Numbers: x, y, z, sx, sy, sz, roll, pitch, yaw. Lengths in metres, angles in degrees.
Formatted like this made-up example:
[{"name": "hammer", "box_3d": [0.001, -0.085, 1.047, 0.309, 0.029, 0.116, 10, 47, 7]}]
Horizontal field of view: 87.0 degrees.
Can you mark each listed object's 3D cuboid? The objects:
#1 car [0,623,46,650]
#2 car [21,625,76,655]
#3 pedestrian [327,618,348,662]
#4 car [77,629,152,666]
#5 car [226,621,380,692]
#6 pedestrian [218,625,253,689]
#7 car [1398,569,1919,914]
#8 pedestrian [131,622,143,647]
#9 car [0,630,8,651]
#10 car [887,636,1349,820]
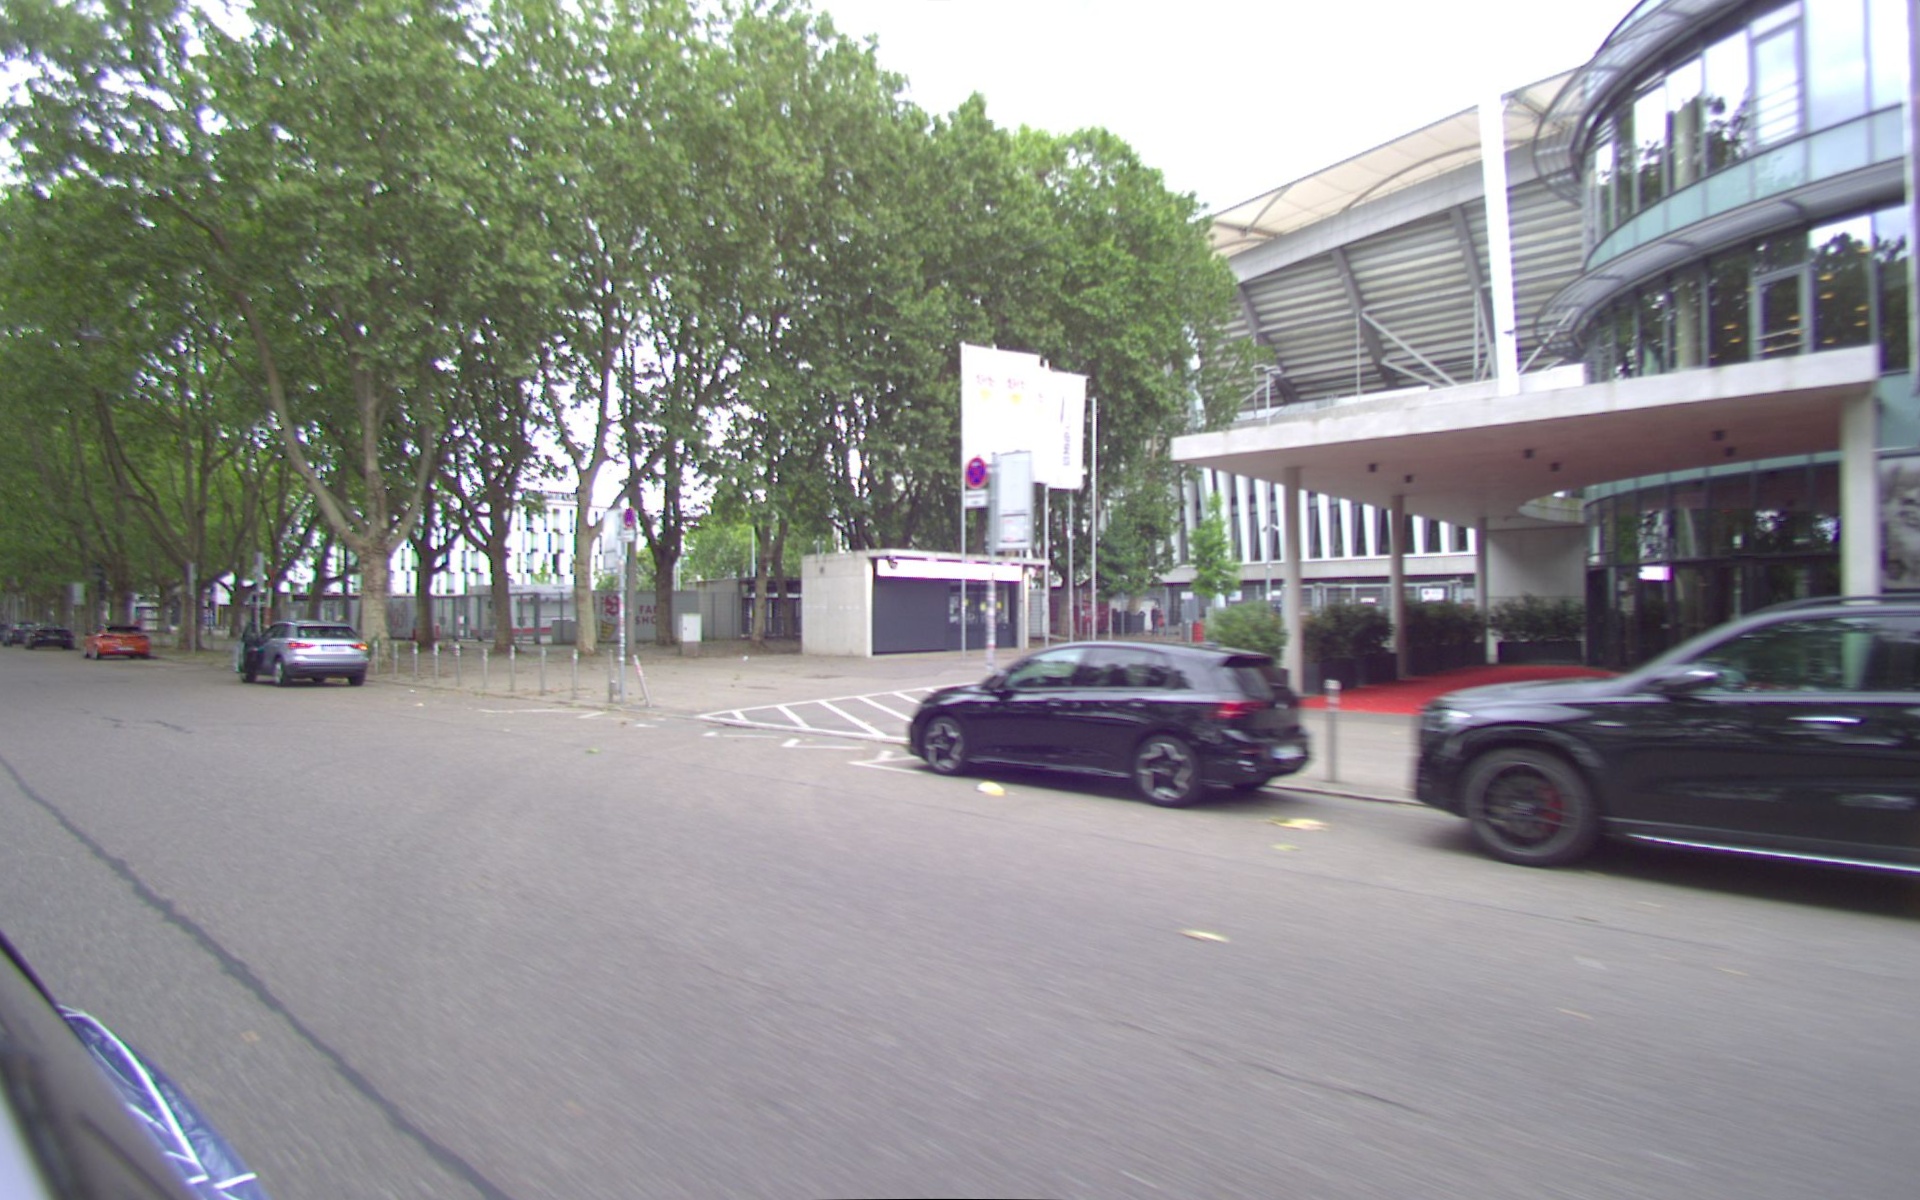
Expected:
[{"name": "car", "box_3d": [-56.306, 2.184, 60.638, 4.150, 1.538, 1.858, -2, -3, 42]}, {"name": "car", "box_3d": [-47.792, 2.066, 53.023, 4.628, 1.477, 1.806, -1, -3, 44]}, {"name": "pedestrian", "box_3d": [-23.931, 1.527, 38.897, 0.585, 1.632, 0.793, 0, -1, -39]}, {"name": "car", "box_3d": [-34.216, 1.882, 40.909, 3.999, 1.364, 1.789, -2, -2, 42]}, {"name": "car", "box_3d": [-16.364, 1.328, 25.118, 4.755, 1.575, 2.051, -2, -2, 42]}, {"name": "pedestrian", "box_3d": [-17.222, 1.350, 24.046, 0.567, 1.477, 0.577, -2, -1, 45]}, {"name": "car", "box_3d": [5.557, 0.800, 6.204, 4.906, 1.803, 2.013, -2, -4, 42]}, {"name": "pedestrian", "box_3d": [-56.918, 2.378, 70.025, 0.567, 1.755, 0.769, 0, -1, -34]}, {"name": "car", "box_3d": [-69.546, 2.901, 72.378, 4.573, 1.497, 1.706, -2, -2, 42]}, {"name": "car", "box_3d": [1.393, 1.102, 10.054, 4.323, 1.430, 1.686, -2, -4, 42]}]
